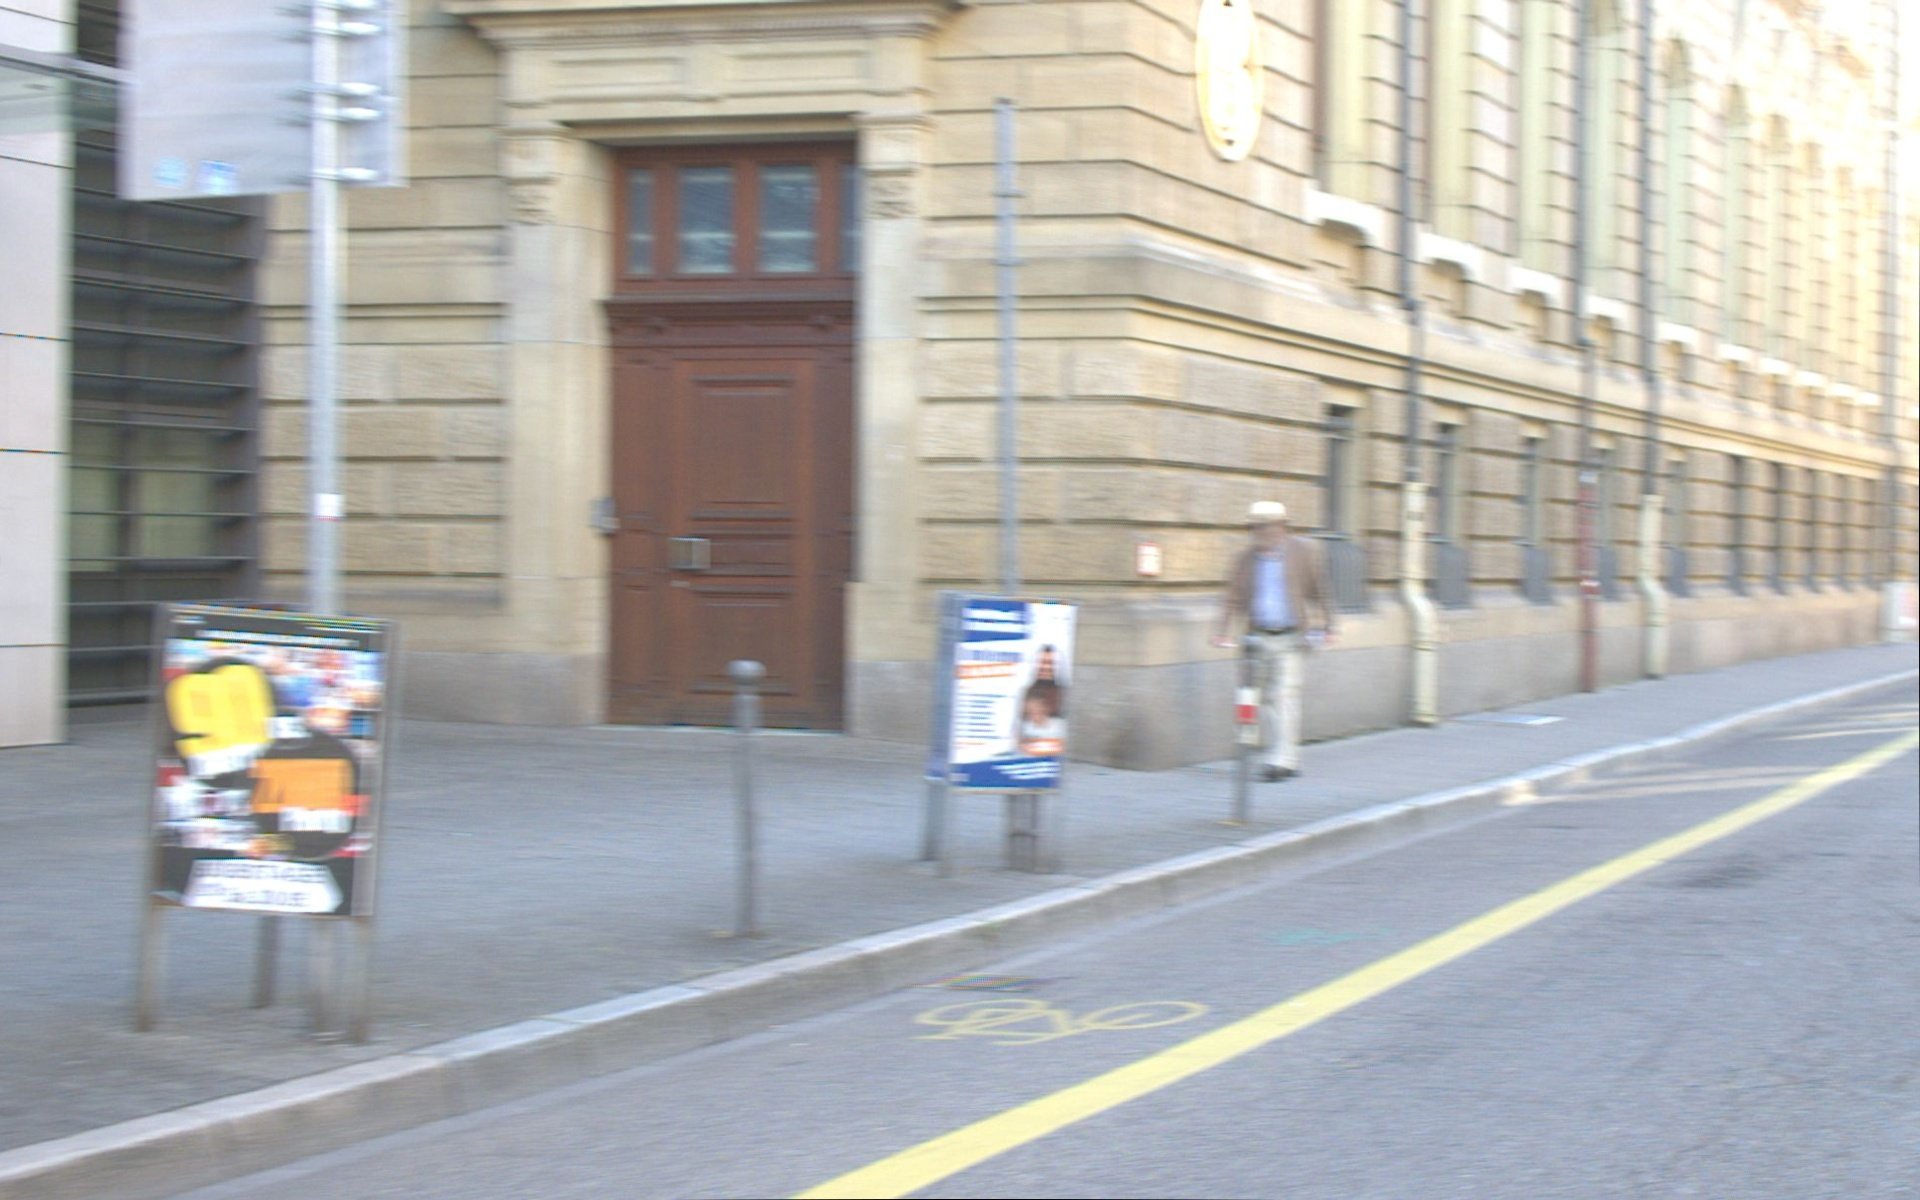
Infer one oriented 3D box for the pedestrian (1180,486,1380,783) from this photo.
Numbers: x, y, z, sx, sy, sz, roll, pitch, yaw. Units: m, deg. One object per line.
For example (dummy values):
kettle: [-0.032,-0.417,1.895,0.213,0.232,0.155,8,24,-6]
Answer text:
pedestrian: [2.052,0.212,21.973,0.842,1.793,1.072,5,2,24]
